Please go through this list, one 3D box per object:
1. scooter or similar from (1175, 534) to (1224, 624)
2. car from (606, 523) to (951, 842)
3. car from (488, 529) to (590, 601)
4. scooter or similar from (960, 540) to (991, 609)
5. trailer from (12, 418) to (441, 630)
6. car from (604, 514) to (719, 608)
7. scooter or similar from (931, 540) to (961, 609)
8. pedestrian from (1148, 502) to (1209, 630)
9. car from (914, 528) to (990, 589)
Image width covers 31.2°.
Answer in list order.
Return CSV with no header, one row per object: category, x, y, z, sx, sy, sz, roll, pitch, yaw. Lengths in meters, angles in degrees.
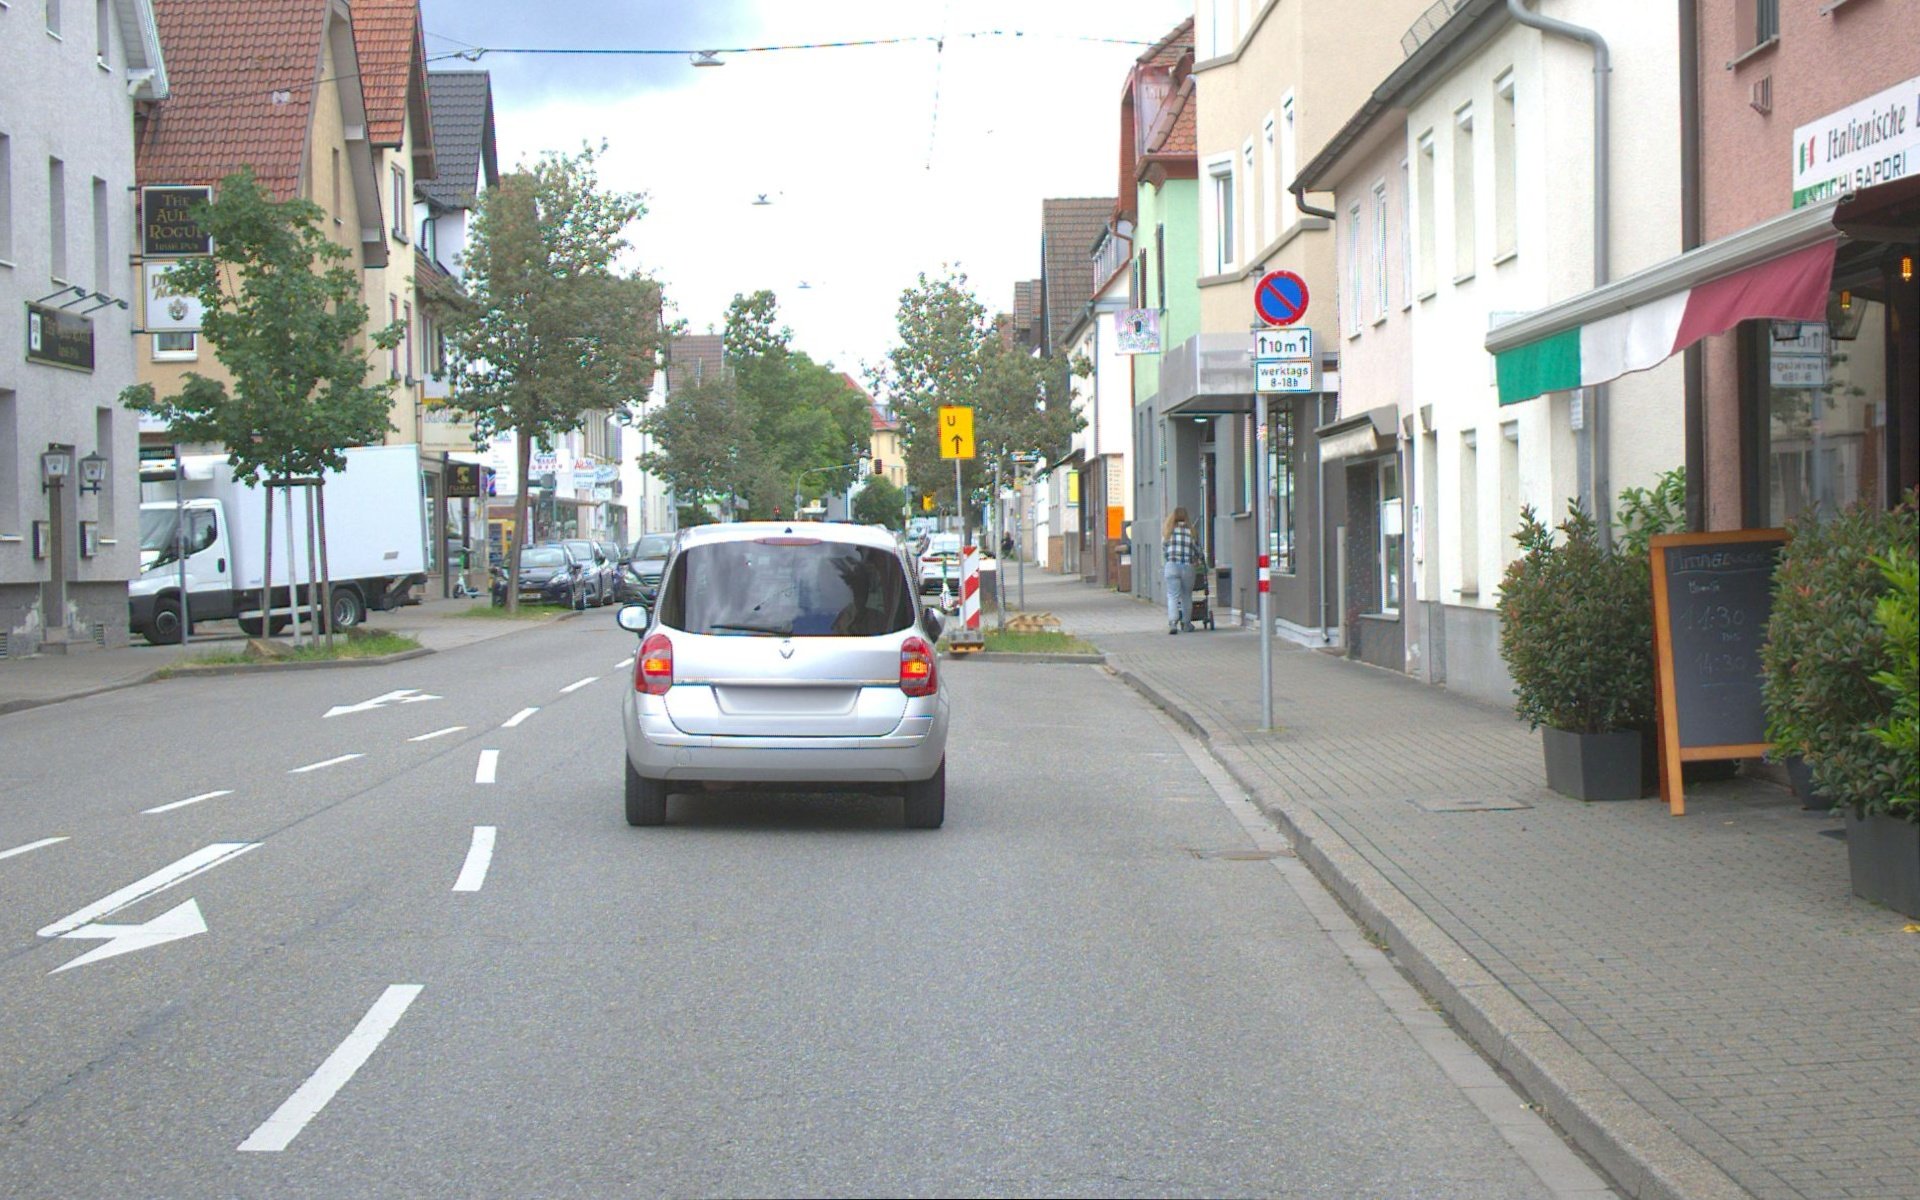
scooter or similar,3.301,-0.297,47.356,0.589,1.228,0.891,0,1,-1
car,-0.904,0.369,19.001,1.682,1.560,3.993,1,1,0
car,-8.804,-0.753,72.121,1.682,1.420,3.931,-2,1,-1
scooter or similar,0.282,-0.471,62.666,0.502,1.231,1.942,0,1,-1
trailer,-11.765,-1.214,55.793,2.508,3.208,7.122,1,1,33
car,-6.022,-0.802,69.818,1.993,1.790,4.278,-2,1,-1
scooter or similar,-0.252,-0.469,62.654,0.502,1.231,1.942,0,1,-1
pedestrian,2.949,-0.465,46.403,0.750,1.714,0.900,0,1,-1
car,-0.190,-1.047,85.503,1.831,1.441,4.332,1,1,0
